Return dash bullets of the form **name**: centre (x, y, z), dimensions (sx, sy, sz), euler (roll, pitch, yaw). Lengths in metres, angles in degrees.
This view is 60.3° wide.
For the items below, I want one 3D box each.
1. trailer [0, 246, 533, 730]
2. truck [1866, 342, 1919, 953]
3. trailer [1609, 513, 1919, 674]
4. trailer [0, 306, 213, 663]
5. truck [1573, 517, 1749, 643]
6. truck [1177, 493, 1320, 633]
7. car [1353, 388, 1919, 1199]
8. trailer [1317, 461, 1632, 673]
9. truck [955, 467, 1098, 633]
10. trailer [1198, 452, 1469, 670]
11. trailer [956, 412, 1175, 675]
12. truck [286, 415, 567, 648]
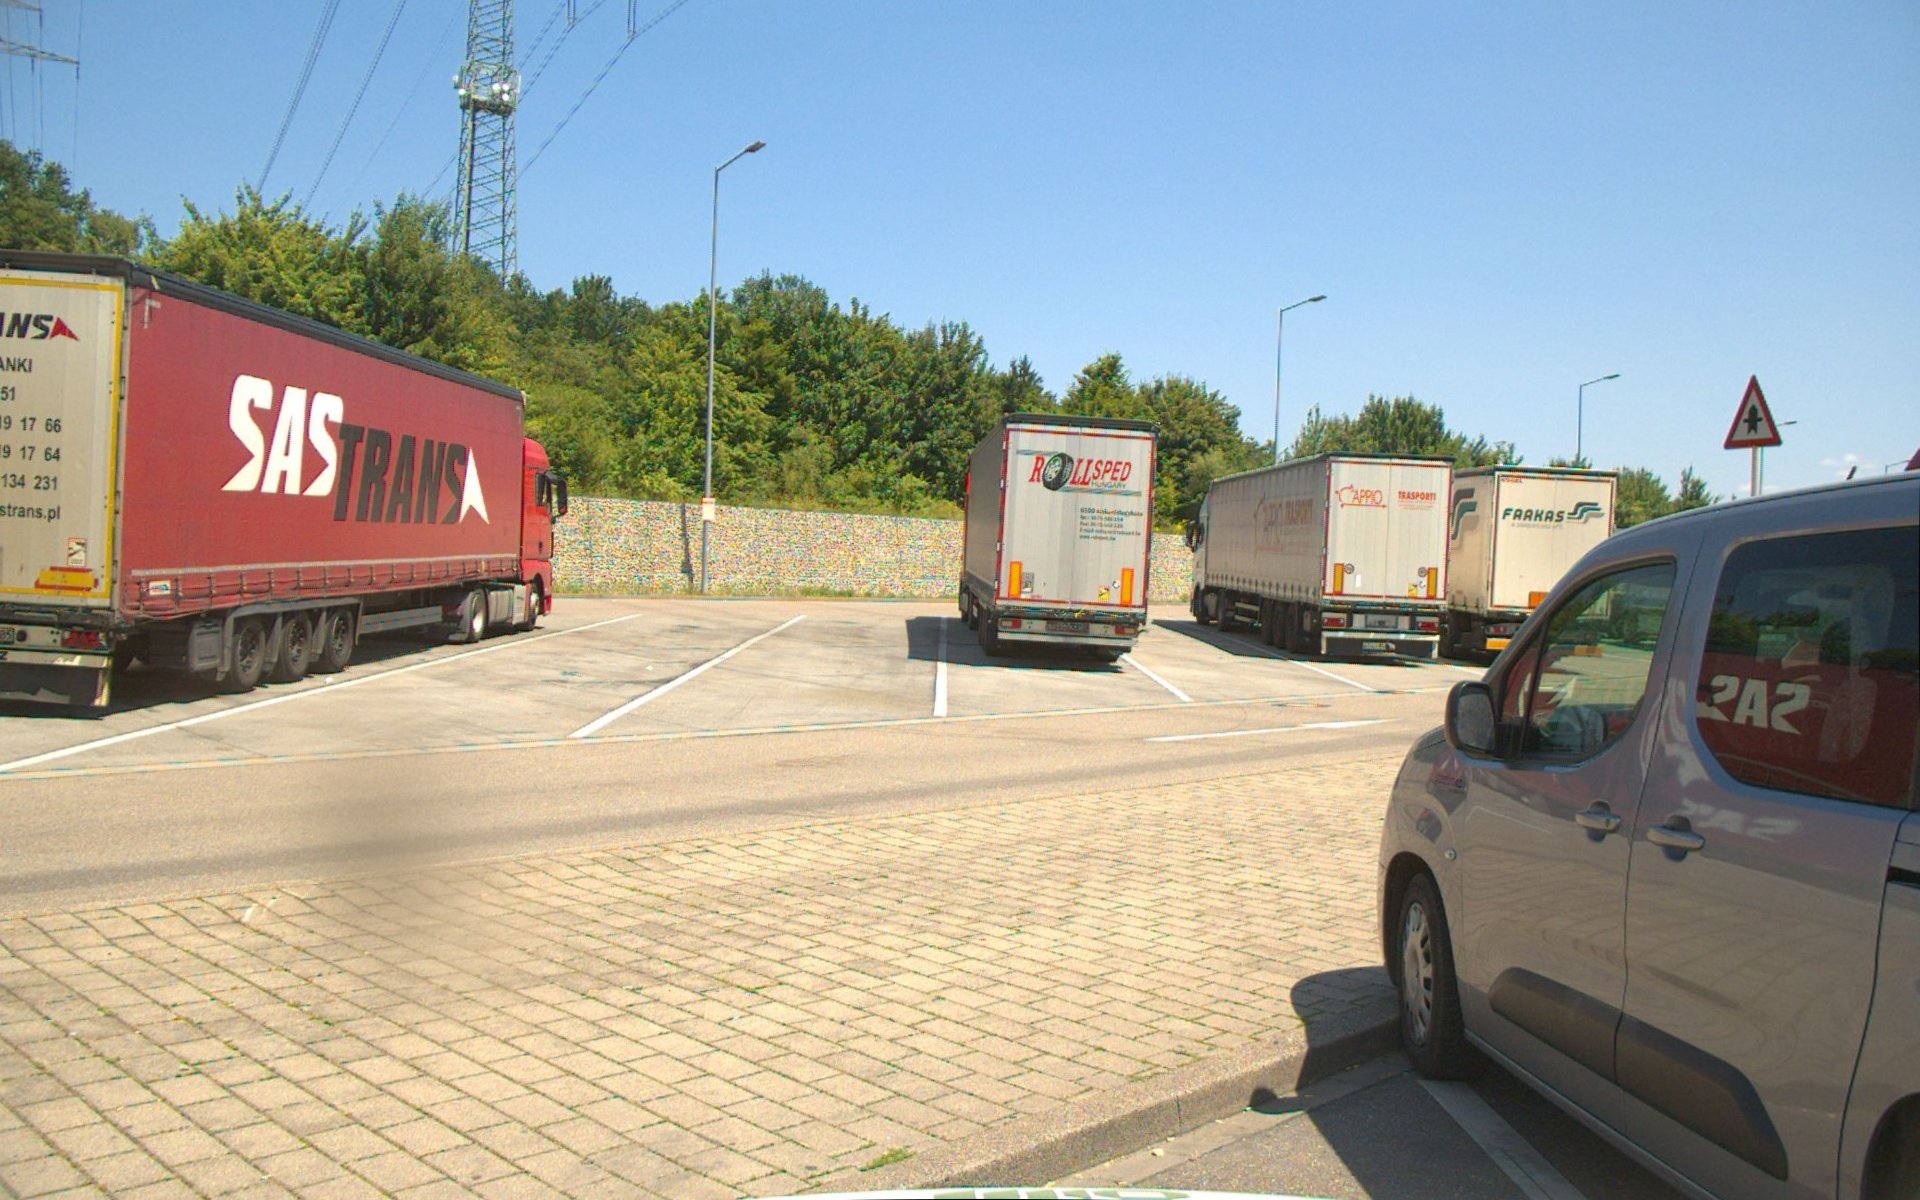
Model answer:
- **trailer**: centre (-8.720, -1.291, 21.439), dimensions (2.735, 4.155, 14.131), euler (3, 2, -1)
- **truck**: centre (5.006, 0.201, 4.981), dimensions (1.937, 2.668, 5.307), euler (1, 0, 4)
- **trailer**: centre (21.852, -0.394, 44.506), dimensions (2.754, 3.568, 14.395), euler (3, 2, -1)
- **trailer**: centre (-12.547, -1.336, 17.717), dimensions (2.739, 4.155, 14.131), euler (3, 2, -1)
- **truck**: centre (21.775, -0.699, 51.736), dimensions (2.746, 3.582, 5.900), euler (3, 2, -1)
- **truck**: centre (8.062, -1.096, 46.952), dimensions (2.804, 3.582, 5.900), euler (3, 2, -1)
- **car**: centre (2.444, 0.604, 3.858), dimensions (1.832, 1.896, 4.174), euler (3, 1, -2)
- **trailer**: centre (11.741, -0.938, 39.957), dimensions (2.754, 4.058, 14.395), euler (3, 2, -1)
- **truck**: centre (1.509, -1.242, 40.535), dimensions (3.041, 3.628, 5.900), euler (3, 2, -1)
- **trailer**: centre (8.179, -1.032, 38.853), dimensions (2.754, 4.058, 14.395), euler (3, 2, -1)
- **trailer**: centre (1.666, -1.196, 33.644), dimensions (3.070, 4.058, 14.393), euler (3, 2, -1)
- **truck**: centre (-8.784, -1.152, 28.010), dimensions (2.793, 3.385, 5.900), euler (3, 2, -1)
